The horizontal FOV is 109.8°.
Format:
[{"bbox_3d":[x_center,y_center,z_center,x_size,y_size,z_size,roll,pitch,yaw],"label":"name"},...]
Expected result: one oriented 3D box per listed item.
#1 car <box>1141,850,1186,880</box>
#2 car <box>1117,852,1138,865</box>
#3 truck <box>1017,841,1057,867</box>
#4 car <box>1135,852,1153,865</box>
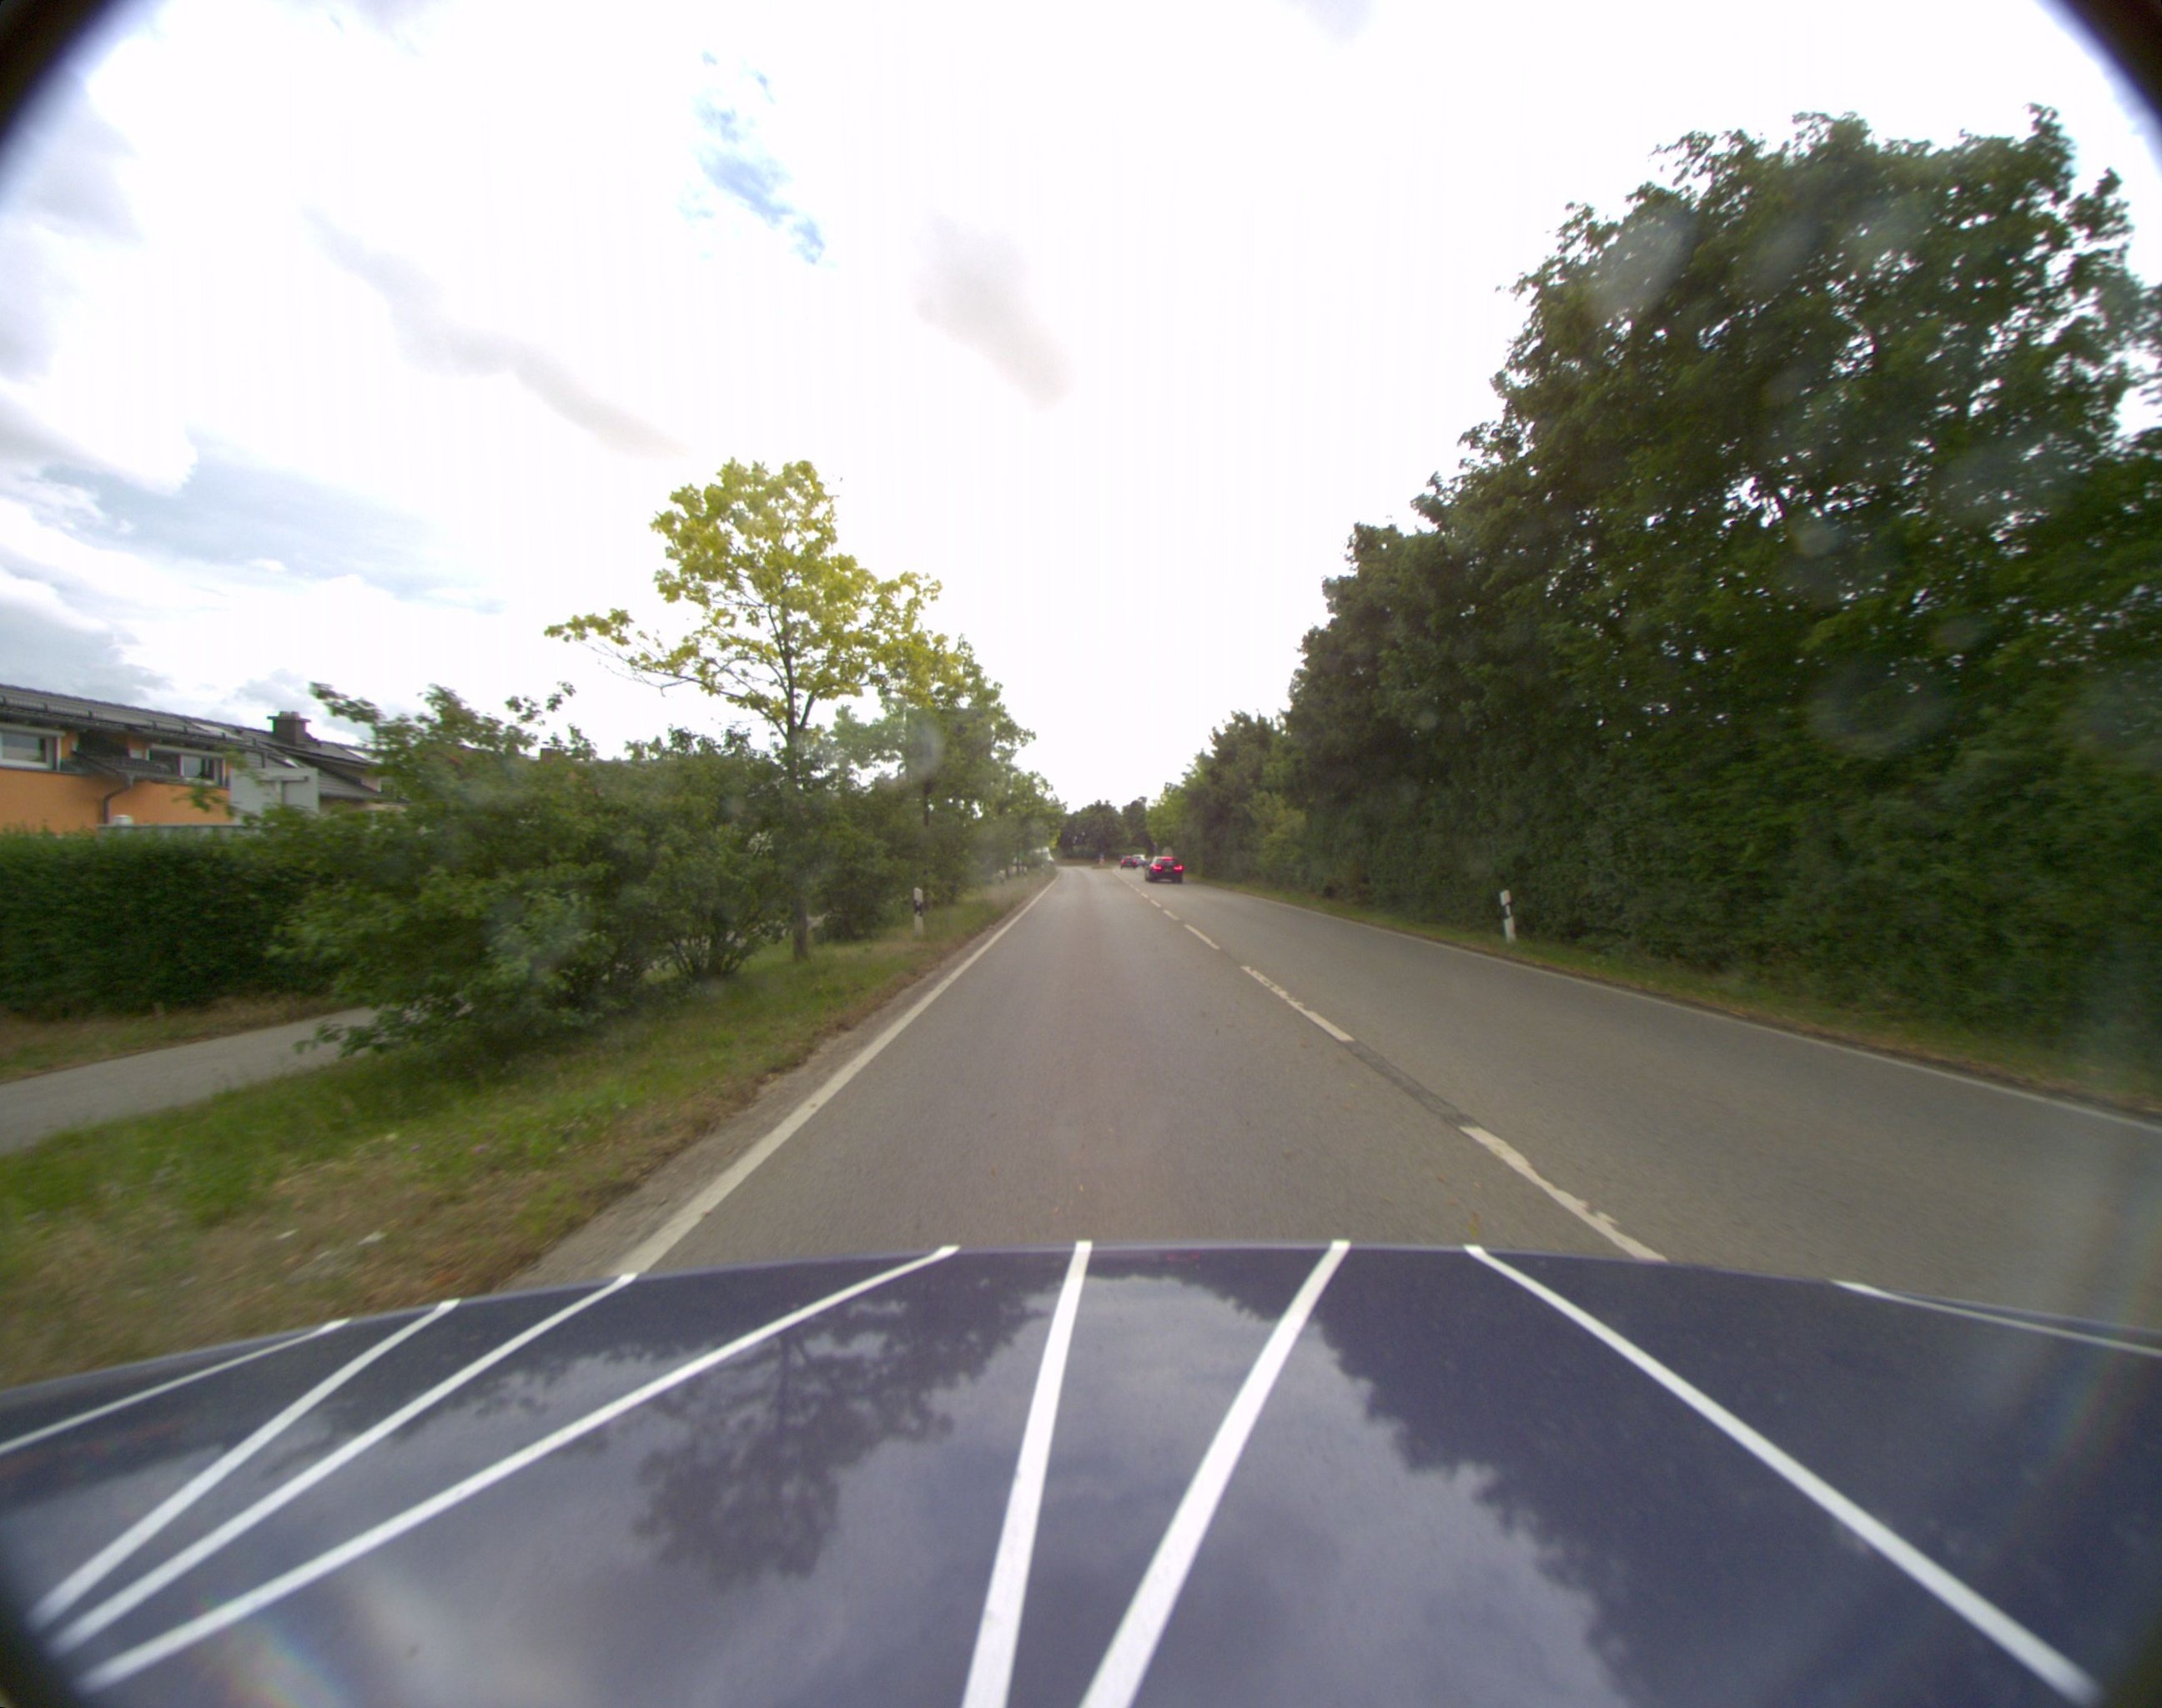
[{"bbox_3d":[4.678,0.575,43.750,1.945,1.577,4.554,1,1,-2],"label":"car"},{"bbox_3d":[5.434,0.478,88.897,1.999,1.411,4.476,1,1,-2],"label":"car"},{"bbox_3d":[-6.272,0.008,107.280,2.620,3.428,7.490,-2,0,-28],"label":"truck"},{"bbox_3d":[8.182,0.564,99.389,1.998,1.592,4.665,1,1,1],"label":"car"}]
